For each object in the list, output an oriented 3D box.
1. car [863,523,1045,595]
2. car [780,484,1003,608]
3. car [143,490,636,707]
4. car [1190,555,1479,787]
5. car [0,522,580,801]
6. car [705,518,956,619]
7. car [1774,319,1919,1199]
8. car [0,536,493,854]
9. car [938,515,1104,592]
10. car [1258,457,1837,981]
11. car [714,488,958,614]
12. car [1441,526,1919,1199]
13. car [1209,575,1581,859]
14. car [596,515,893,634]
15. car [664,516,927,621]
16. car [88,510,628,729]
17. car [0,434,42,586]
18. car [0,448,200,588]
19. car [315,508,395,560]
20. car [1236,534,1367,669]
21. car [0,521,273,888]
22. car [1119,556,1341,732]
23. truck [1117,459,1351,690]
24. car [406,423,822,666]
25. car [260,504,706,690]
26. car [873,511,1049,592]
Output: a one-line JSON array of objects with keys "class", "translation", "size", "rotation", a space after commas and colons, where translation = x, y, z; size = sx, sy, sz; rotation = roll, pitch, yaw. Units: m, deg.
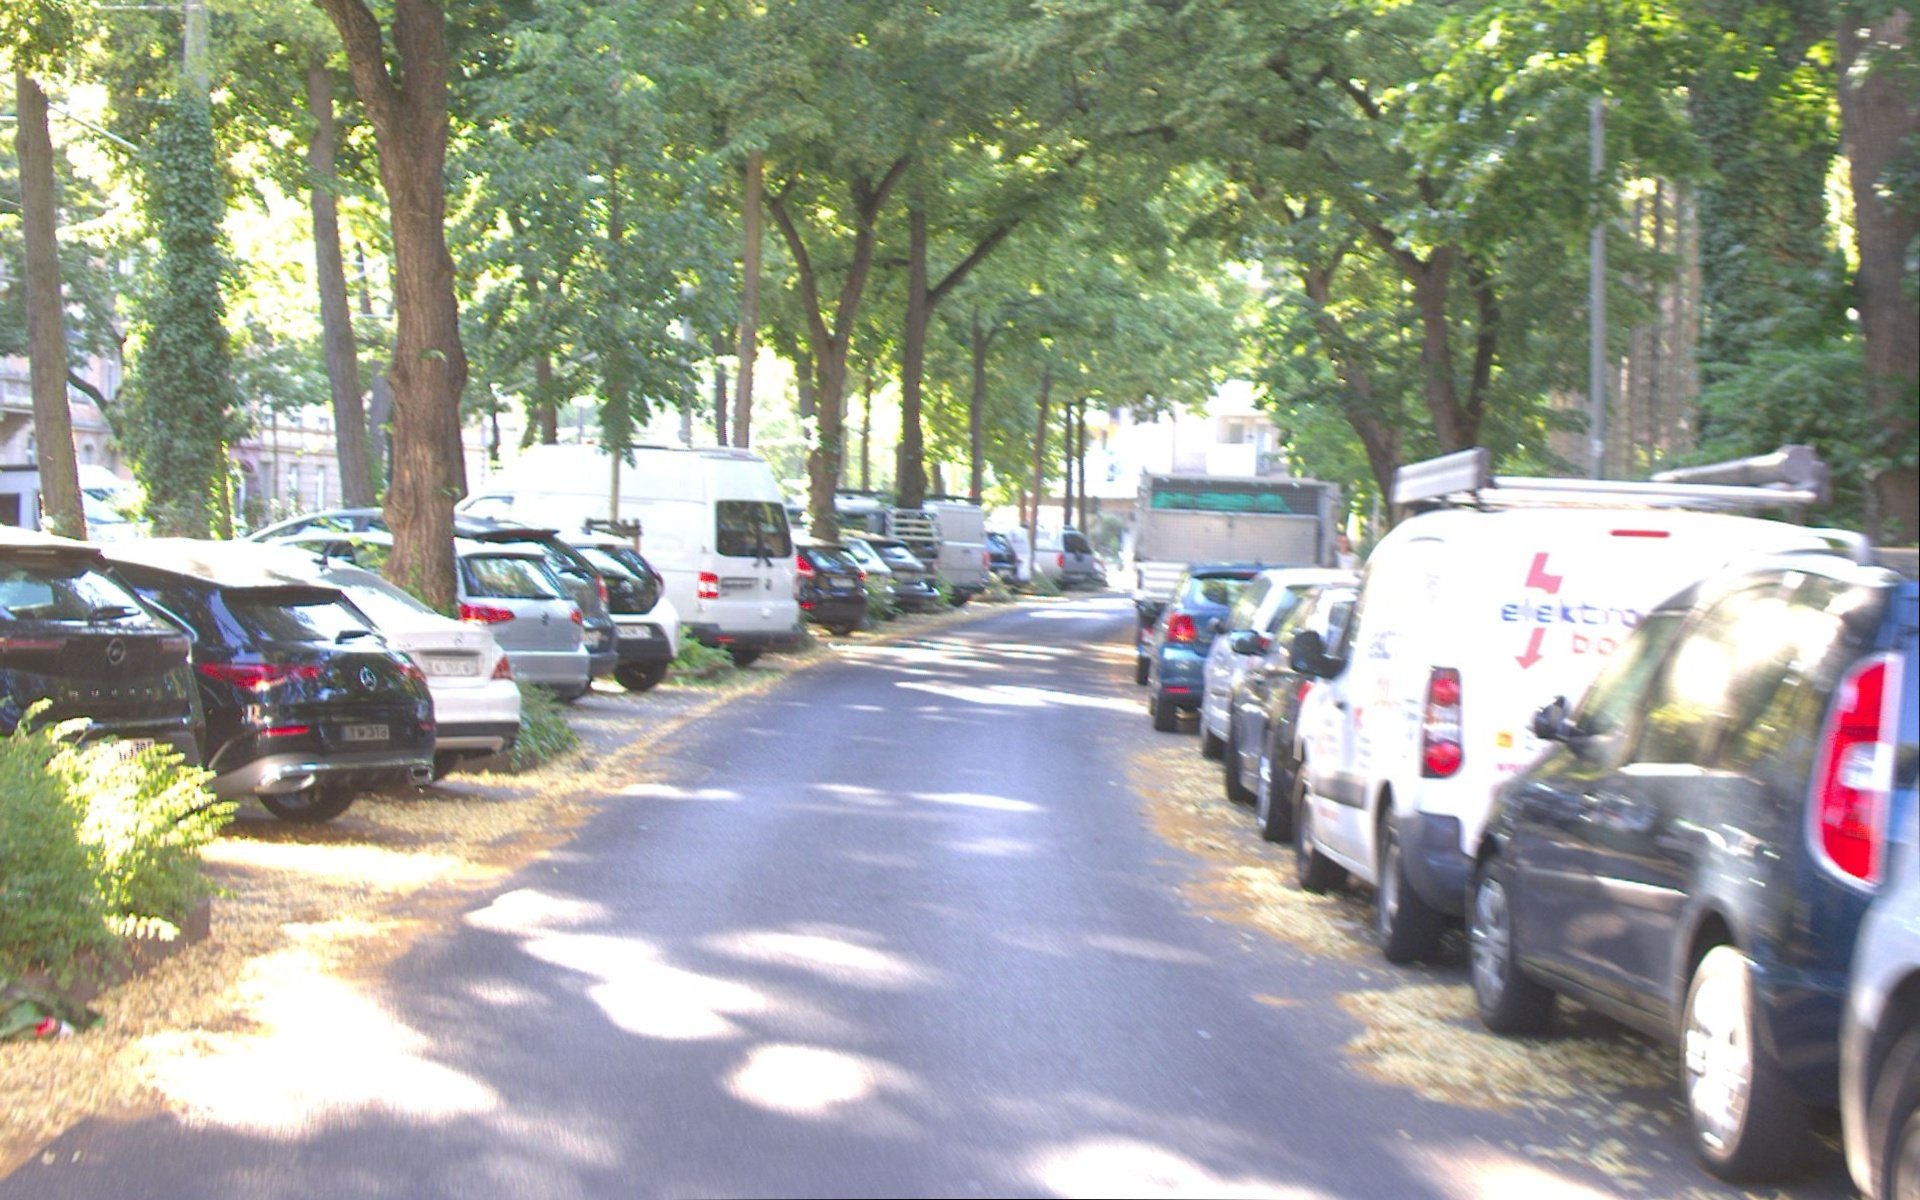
[{"class": "car", "translation": [-0.161, -1.027, 85.163], "size": [4.087, 1.468, 1.816], "rotation": [5, 1, 34]}, {"class": "car", "translation": [-1.405, -1.094, 69.725], "size": [4.087, 2.202, 1.816], "rotation": [5, 1, 34]}, {"class": "car", "translation": [-4.986, -0.019, 30.088], "size": [3.822, 1.581, 1.736], "rotation": [4, 1, 22]}, {"class": "car", "translation": [2.571, 0.441, 24.301], "size": [1.571, 1.462, 3.601], "rotation": [1, 1, -1]}, {"class": "car", "translation": [-4.479, 0.329, 21.104], "size": [3.822, 1.386, 1.736], "rotation": [4, 1, 22]}, {"class": "car", "translation": [-2.318, -0.569, 61.028], "size": [4.087, 1.468, 1.816], "rotation": [5, 1, 34]}, {"class": "car", "translation": [2.942, 0.512, 5.113], "size": [1.944, 1.996, 4.661], "rotation": [1, 1, -5]}, {"class": "car", "translation": [-4.606, 0.409, 18.080], "size": [3.822, 1.386, 1.736], "rotation": [4, 1, 22]}, {"class": "car", "translation": [1.652, -1.280, 93.470], "size": [4.087, 1.783, 1.816], "rotation": [5, 1, 34]}, {"class": "car", "translation": [2.321, 0.397, 14.537], "size": [1.571, 1.897, 3.903], "rotation": [1, 1, -3]}, {"class": "car", "translation": [-2.308, -0.912, 63.528], "size": [4.087, 2.033, 1.816], "rotation": [5, 1, 34]}, {"class": "car", "translation": [2.554, 0.621, 9.859], "size": [1.571, 1.632, 3.712], "rotation": [1, 1, -4]}, {"class": "car", "translation": [2.366, 0.590, 19.464], "size": [1.571, 1.381, 3.601], "rotation": [1, 1, -1]}, {"class": "car", "translation": [-3.243, -0.393, 51.514], "size": [4.087, 1.468, 1.816], "rotation": [5, 1, 34]}, {"class": "car", "translation": [-2.810, -0.533, 58.389], "size": [4.087, 1.468, 1.816], "rotation": [5, 1, 34]}, {"class": "car", "translation": [-4.789, 0.142, 27.378], "size": [3.822, 1.416, 1.736], "rotation": [4, 1, 22]}, {"class": "car", "translation": [-18.588, -1.425, 59.189], "size": [5.260, 2.563, 2.269], "rotation": [-2, 1, 31]}, {"class": "car", "translation": [-17.792, -1.578, 67.788], "size": [5.260, 2.563, 2.269], "rotation": [-2, 1, 31]}, {"class": "car", "translation": [-21.771, -2.395, 123.867], "size": [1.711, 1.814, 3.999], "rotation": [0, 1, 7]}, {"class": "car", "translation": [4.388, -0.019, 44.346], "size": [1.571, 1.643, 3.600], "rotation": [1, 1, 5]}, {"class": "car", "translation": [-5.311, 0.327, 15.800], "size": [3.822, 1.491, 1.736], "rotation": [4, 1, 22]}, {"class": "car", "translation": [2.289, 0.336, 29.910], "size": [1.571, 1.380, 3.601], "rotation": [1, 1, -1]}, {"class": "truck", "translation": [2.948, -0.314, 37.734], "size": [2.366, 2.344, 4.383], "rotation": [1, 1, 3]}, {"class": "car", "translation": [-4.018, -0.653, 39.623], "size": [4.495, 2.467, 1.816], "rotation": [5, 1, 34]}, {"class": "car", "translation": [-4.594, -0.035, 33.142], "size": [3.822, 1.476, 1.736], "rotation": [4, 1, 22]}, {"class": "car", "translation": [0.023, -1.245, 88.041], "size": [4.087, 1.783, 1.816], "rotation": [5, 1, 34]}]
